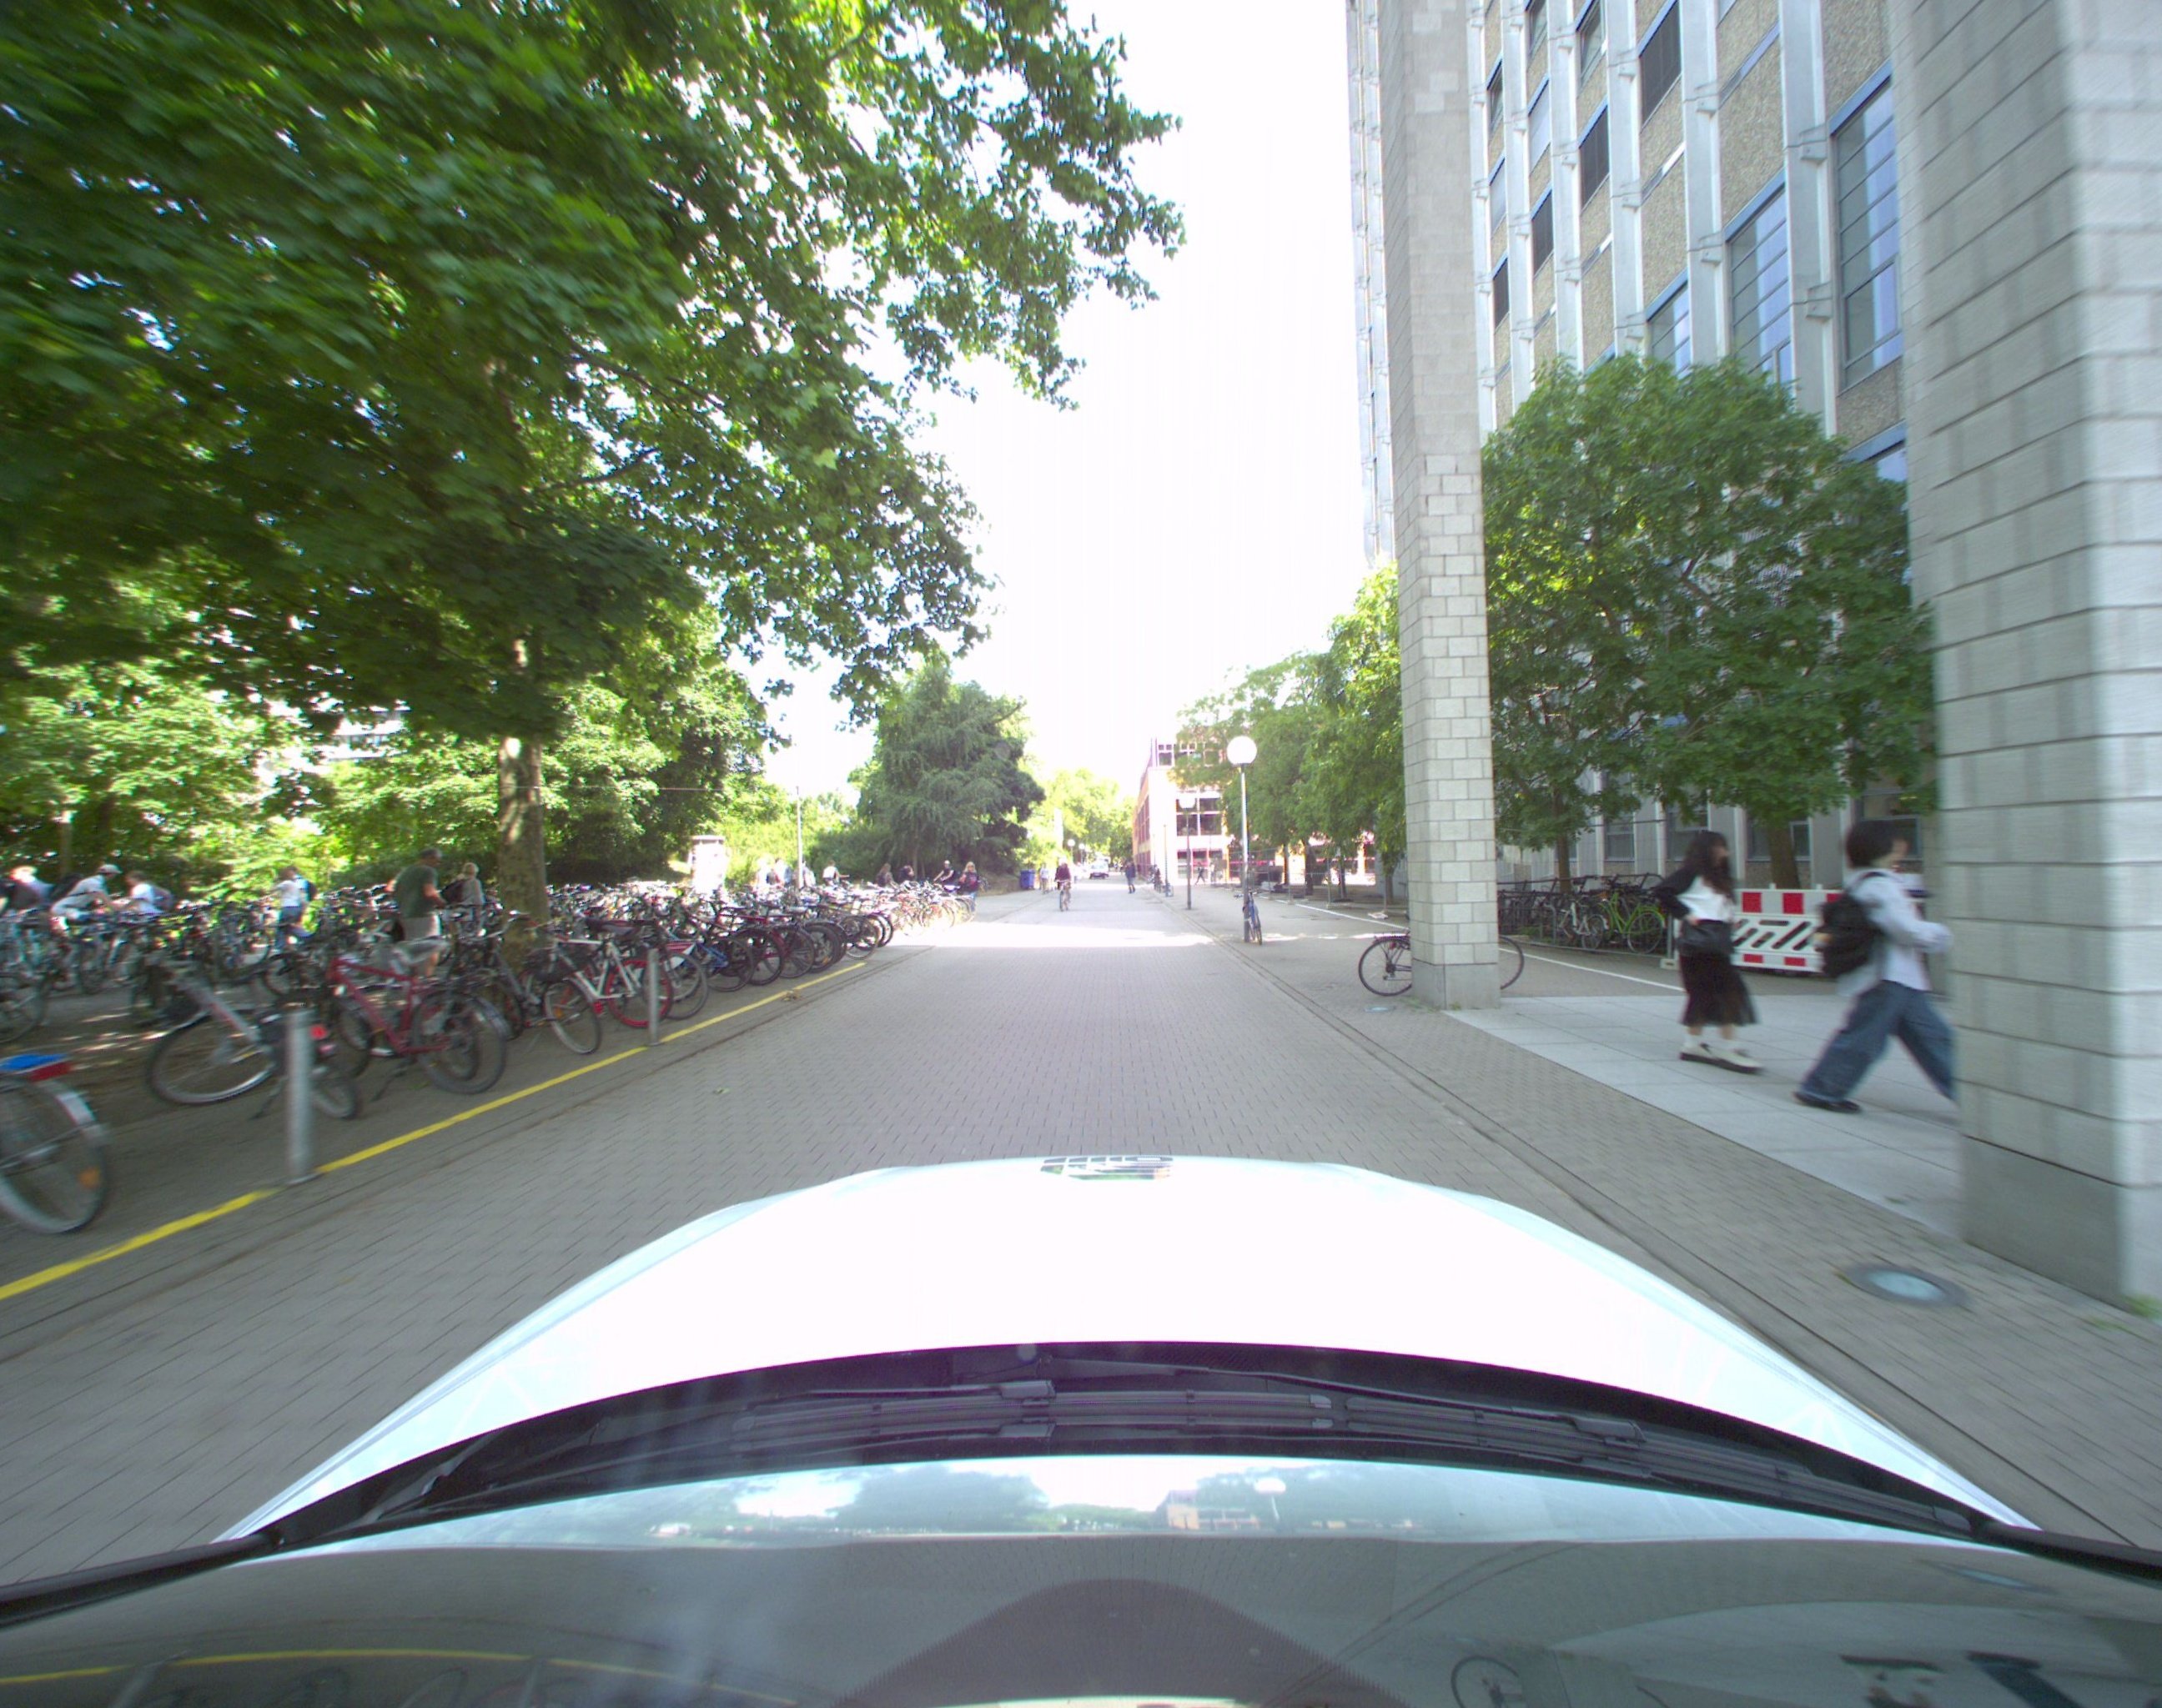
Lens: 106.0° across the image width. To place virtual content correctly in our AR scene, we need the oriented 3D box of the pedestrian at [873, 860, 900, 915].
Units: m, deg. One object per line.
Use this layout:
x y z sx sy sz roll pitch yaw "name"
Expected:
-6.176 1.060 25.900 0.682 1.724 0.731 0 -1 0 "pedestrian"

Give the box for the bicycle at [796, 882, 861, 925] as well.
-6.613 1.284 21.333 1.679 1.083 0.476 -1 -1 21 "bicycle"

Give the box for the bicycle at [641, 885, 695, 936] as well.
-9.447 1.270 18.603 1.678 1.083 0.477 -2 -1 40 "bicycle"

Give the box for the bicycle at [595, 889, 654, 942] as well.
-9.964 1.326 17.764 1.677 1.083 0.477 -2 -1 37 "bicycle"

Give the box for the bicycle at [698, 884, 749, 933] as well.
-8.497 1.267 19.337 1.678 1.083 0.477 -2 -1 43 "bicycle"

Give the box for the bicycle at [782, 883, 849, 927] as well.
-6.805 1.292 20.869 1.679 1.083 0.476 -1 -1 21 "bicycle"

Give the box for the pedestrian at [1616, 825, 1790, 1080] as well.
4.344 0.623 5.695 0.812 1.617 0.732 -2 -1 -38 "pedestrian"

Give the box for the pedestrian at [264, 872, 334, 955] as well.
-16.477 1.220 17.183 0.910 1.680 0.762 0 -1 -32 "pedestrian"

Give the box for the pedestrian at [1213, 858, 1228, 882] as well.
10.134 1.191 59.276 0.894 1.728 0.688 -3 -3 19 "pedestrian"

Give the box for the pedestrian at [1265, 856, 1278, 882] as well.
13.437 1.047 57.348 0.762 1.794 0.590 -3 -2 9 "pedestrian"

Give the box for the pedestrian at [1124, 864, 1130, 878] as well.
5.571 2.059 98.805 0.584 1.672 0.818 -3 -2 3 "pedestrian"

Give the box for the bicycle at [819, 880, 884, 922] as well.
-6.297 1.283 22.321 1.682 1.110 0.476 -1 -1 14 "bicycle"

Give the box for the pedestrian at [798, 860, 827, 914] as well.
-8.925 1.080 27.092 0.689 1.724 0.723 -2 0 -35 "pedestrian"

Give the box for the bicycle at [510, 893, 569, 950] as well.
-11.081 1.360 16.647 1.677 1.083 0.477 -2 -1 37 "bicycle"

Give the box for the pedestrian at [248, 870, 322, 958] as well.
-16.055 1.180 16.453 0.910 1.680 0.762 0 -1 -32 "pedestrian"

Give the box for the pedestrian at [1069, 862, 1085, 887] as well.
-0.296 1.536 60.686 0.717 1.881 1.089 -2 -2 31 "pedestrian"

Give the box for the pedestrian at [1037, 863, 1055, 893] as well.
-2.210 1.466 51.064 0.786 1.845 1.109 0 -1 -22 "pedestrian"

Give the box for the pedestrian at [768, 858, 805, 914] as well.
-9.765 1.046 27.036 0.828 1.815 0.884 -1 -1 5 "pedestrian"

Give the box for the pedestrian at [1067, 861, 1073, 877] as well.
-1.256 1.750 94.527 0.680 1.844 0.783 -1 -2 2 "pedestrian"

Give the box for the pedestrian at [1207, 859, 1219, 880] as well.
10.116 1.172 62.361 0.778 1.621 0.684 -1 -2 0 "pedestrian"

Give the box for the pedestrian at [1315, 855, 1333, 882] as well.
16.124 0.979 53.998 0.900 1.728 0.684 -1 -3 -3 "pedestrian"

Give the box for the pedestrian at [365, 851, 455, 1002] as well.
-8.445 0.871 10.288 0.772 1.807 0.703 0 -1 -31 "pedestrian"

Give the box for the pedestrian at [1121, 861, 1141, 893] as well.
2.947 1.335 47.728 0.878 1.858 1.037 -1 -1 19 "pedestrian"

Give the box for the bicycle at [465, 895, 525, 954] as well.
-11.603 1.368 16.119 1.677 1.083 0.477 -2 -1 37 "bicycle"

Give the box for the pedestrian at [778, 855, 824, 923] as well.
-7.775 0.950 22.612 0.677 1.835 0.947 -2 0 36 "pedestrian"

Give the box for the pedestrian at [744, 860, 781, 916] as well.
-10.584 1.122 27.103 0.764 1.804 0.985 -1 -1 4 "pedestrian"

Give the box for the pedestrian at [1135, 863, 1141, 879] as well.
5.962 1.775 85.468 0.584 1.672 0.699 -3 -2 3 "pedestrian"

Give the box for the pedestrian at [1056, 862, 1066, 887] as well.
-1.459 1.510 60.446 0.680 1.844 0.783 -1 -2 2 "pedestrian"

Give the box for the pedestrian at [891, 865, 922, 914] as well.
-6.312 1.262 29.532 0.678 1.724 0.909 -1 -1 25 "pedestrian"

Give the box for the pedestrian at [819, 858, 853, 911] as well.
-8.327 1.028 27.657 0.940 1.724 0.671 -2 0 -31 "pedestrian"

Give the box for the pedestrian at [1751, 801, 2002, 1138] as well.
4.386 0.578 4.576 0.887 1.670 0.679 -3 -1 39 "pedestrian"

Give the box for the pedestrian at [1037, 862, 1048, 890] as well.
-2.641 1.514 55.702 0.681 1.873 1.120 -1 -2 -2 "pedestrian"

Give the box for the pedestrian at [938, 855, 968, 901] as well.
-5.145 0.963 32.793 0.606 1.835 1.056 -2 -1 36 "pedestrian"

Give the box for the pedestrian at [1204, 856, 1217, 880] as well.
10.031 1.098 63.061 0.823 1.844 0.684 -1 -2 0 "pedestrian"

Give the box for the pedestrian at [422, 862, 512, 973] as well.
-9.888 0.992 13.148 0.766 1.703 0.906 -1 -1 -3 "pedestrian"

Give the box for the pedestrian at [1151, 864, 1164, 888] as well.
5.283 1.514 56.487 0.847 1.651 0.589 -1 -2 9 "pedestrian"

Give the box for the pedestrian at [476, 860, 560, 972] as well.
-8.964 0.950 12.974 0.895 1.703 0.774 -1 -1 28 "pedestrian"

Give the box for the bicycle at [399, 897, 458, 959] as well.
-12.387 1.386 15.446 1.677 1.083 0.477 -2 -1 37 "bicycle"

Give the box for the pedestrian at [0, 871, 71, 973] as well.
-18.211 1.149 13.968 0.910 1.680 0.762 0 -1 -32 "pedestrian"

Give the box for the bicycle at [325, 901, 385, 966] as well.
-13.091 1.404 14.673 1.677 1.083 0.477 -2 -1 37 "bicycle"

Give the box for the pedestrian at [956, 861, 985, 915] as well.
-3.557 1.065 26.081 0.769 1.680 0.902 -2 0 -15 "pedestrian"

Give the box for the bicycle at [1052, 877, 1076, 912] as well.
-0.591 1.410 28.762 0.769 1.150 2.107 -2 -2 -1 "bicycle"

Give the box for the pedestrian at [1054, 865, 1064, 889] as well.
-1.485 1.538 54.167 0.568 1.611 0.915 0 -2 -8 "pedestrian"

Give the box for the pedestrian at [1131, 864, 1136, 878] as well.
6.495 2.073 100.235 0.584 1.672 0.818 -3 -2 3 "pedestrian"

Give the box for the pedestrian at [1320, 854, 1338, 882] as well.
16.209 0.920 53.302 0.900 1.728 0.684 -1 -3 -3 "pedestrian"

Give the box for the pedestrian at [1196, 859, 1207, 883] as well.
8.722 1.240 58.921 0.692 1.672 0.590 -3 -2 9 "pedestrian"

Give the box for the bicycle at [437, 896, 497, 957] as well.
-11.885 1.371 15.742 1.677 1.083 0.477 -2 -1 37 "bicycle"

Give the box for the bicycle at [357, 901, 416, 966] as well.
-12.776 1.430 14.969 1.677 1.083 0.477 -2 -1 37 "bicycle"

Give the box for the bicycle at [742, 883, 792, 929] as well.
-7.828 1.284 20.281 1.678 1.083 0.477 -2 -1 43 "bicycle"

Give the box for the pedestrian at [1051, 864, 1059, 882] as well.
-2.347 1.764 74.118 0.681 1.621 0.978 -1 -2 -3 "pedestrian"

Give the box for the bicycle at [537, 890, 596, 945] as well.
-10.783 1.304 17.061 1.677 1.083 0.477 -2 -1 37 "bicycle"

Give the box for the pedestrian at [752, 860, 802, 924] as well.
-8.594 1.058 23.061 0.710 1.724 1.071 -2 0 34 "pedestrian"

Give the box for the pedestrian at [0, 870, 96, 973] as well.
-18.646 1.185 14.694 0.910 1.774 0.762 0 -1 -32 "pedestrian"

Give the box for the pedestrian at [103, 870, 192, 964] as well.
-17.533 1.158 15.331 0.910 1.680 0.762 0 -1 -32 "pedestrian"

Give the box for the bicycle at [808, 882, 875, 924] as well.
-6.420 1.309 21.829 1.705 1.083 0.476 -1 -1 16 "bicycle"
